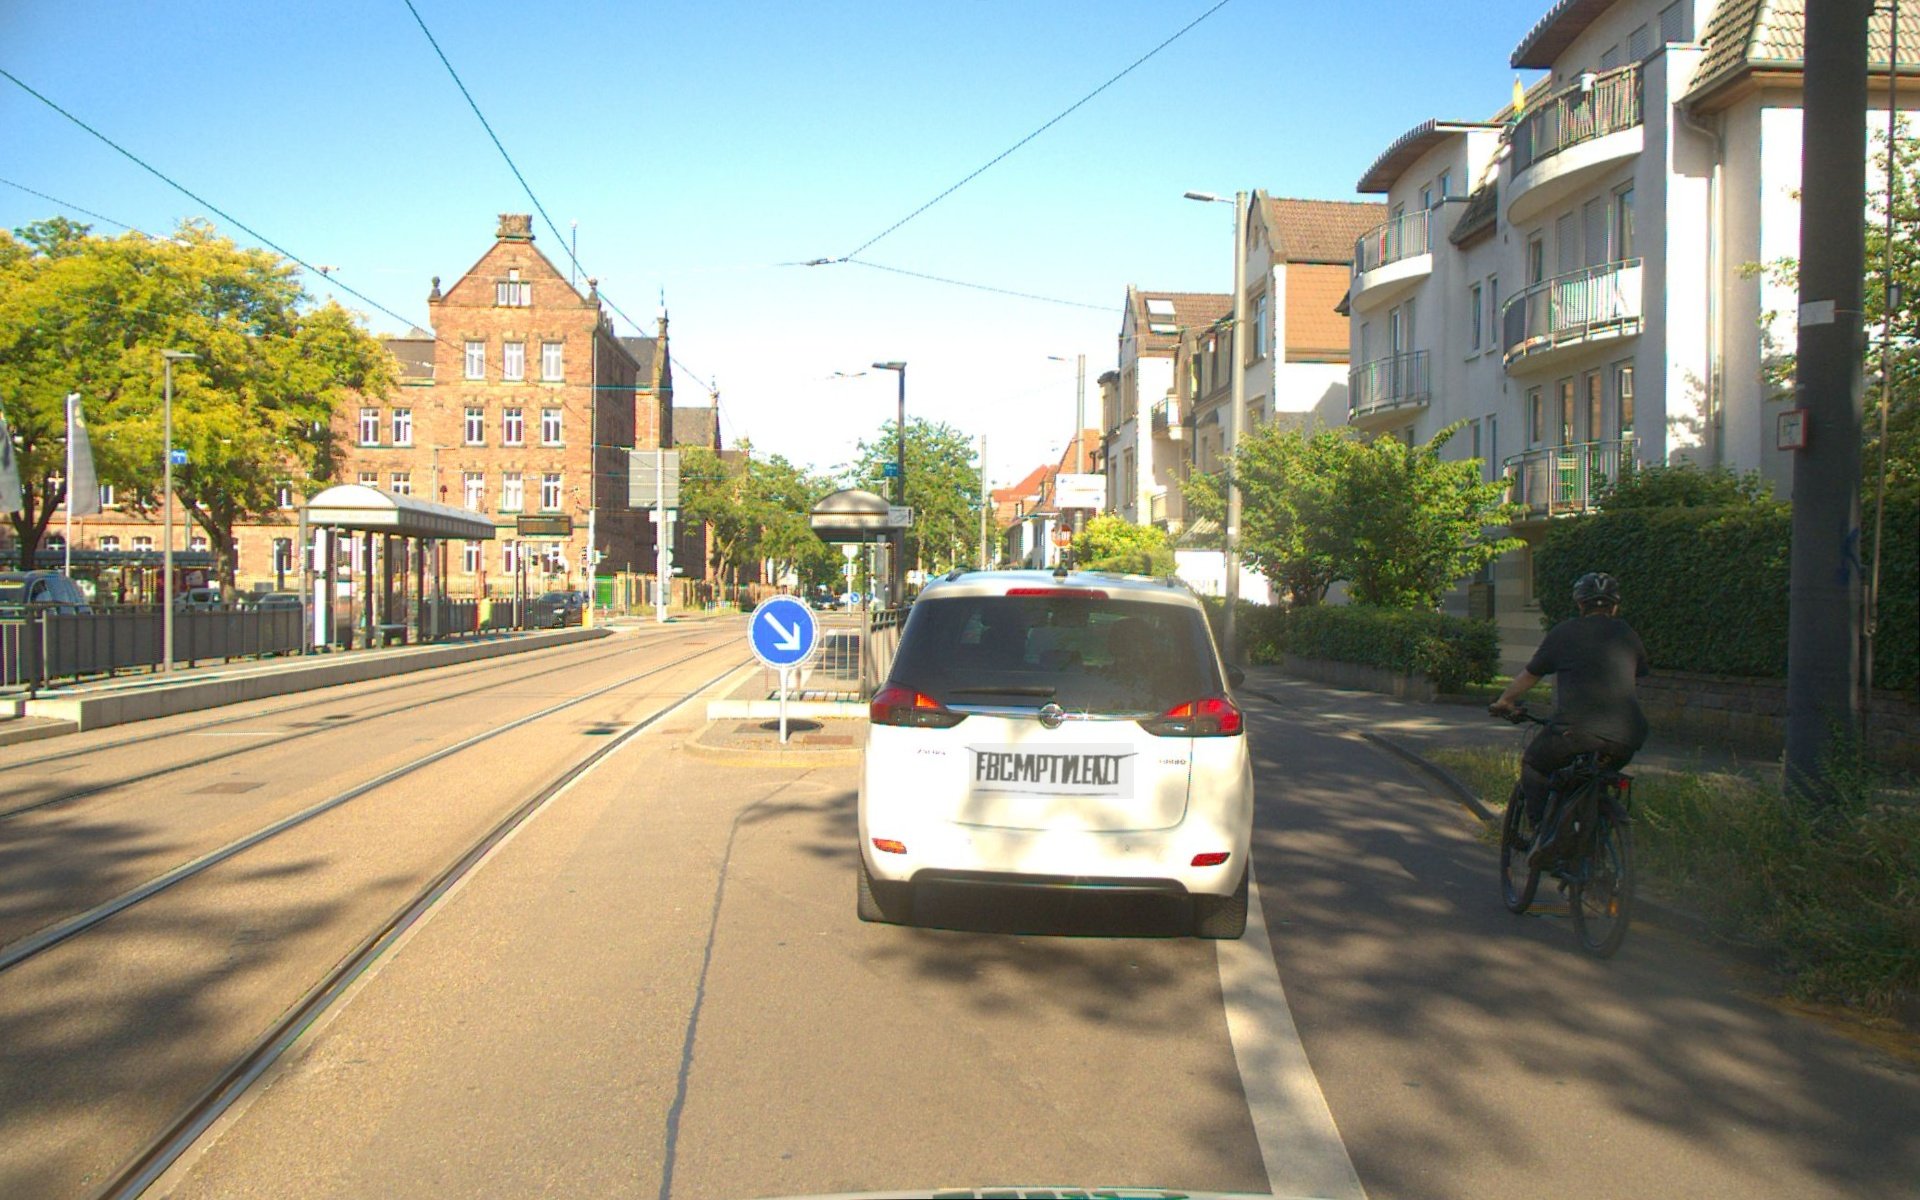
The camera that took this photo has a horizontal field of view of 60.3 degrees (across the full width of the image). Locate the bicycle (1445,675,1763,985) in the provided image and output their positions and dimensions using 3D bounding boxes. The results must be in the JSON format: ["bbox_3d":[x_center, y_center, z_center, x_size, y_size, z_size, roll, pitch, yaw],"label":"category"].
[{"bbox_3d":[3.012,1.009,7.998,0.812,1.174,2.095,3,0,4],"label":"bicycle"}]

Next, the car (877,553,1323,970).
[{"bbox_3d":[0.488,0.667,8.668,1.798,1.670,3.916,1,0,-3],"label":"car"}]

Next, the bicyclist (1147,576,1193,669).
[{"bbox_3d":[3.849,0.413,30.356,0.671,1.663,1.015,1,0,-1],"label":"bicyclist"}]

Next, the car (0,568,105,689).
[{"bbox_3d":[-14.432,0.388,24.650,1.762,1.666,4.110,-1,0,-9],"label":"car"}]

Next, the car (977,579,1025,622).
[{"bbox_3d":[1.657,0.029,67.340,1.740,1.660,3.879,1,0,-1],"label":"car"}]

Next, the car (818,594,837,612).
[{"bbox_3d":[-13.371,0.275,167.092,1.868,1.706,4.355,1,0,-3],"label":"car"}]

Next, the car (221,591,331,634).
[{"bbox_3d":[-28.185,0.527,68.203,3.780,1.689,1.750,1,0,-1],"label":"car"}]

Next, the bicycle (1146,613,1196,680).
[{"bbox_3d":[3.851,0.828,30.284,0.671,1.177,1.619,1,0,-1],"label":"bicycle"}]

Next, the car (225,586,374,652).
[{"bbox_3d":[-15.108,0.401,38.108,1.846,1.440,4.621,0,0,-4],"label":"car"}]

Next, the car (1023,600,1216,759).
[{"bbox_3d":[1.553,0.733,17.249,1.554,1.445,3.899,0,0,-1],"label":"car"}]

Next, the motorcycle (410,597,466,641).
[{"bbox_3d":[-15.819,0.560,50.192,1.108,1.265,2.569,1,0,-7],"label":"motorcycle"}]

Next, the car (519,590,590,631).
[{"bbox_3d":[-16.540,0.426,67.619,1.953,1.573,3.999,1,0,-1],"label":"car"}]

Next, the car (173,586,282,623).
[{"bbox_3d":[-32.462,0.195,73.351,3.982,1.548,1.877,1,0,-1],"label":"car"}]

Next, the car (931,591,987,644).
[{"bbox_3d":[-0.054,0.562,54.106,1.740,1.660,3.880,1,0,-1],"label":"car"}]

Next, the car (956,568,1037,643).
[{"bbox_3d":[0.813,0.128,39.089,1.740,1.660,3.879,1,0,-1],"label":"car"}]

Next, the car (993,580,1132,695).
[{"bbox_3d":[1.552,0.562,26.299,1.740,1.660,3.878,1,0,-3],"label":"car"}]

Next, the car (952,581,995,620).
[{"bbox_3d":[0.561,0.035,73.103,1.740,1.660,3.879,1,0,-1],"label":"car"}]

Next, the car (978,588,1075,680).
[{"bbox_3d":[1.254,0.632,32.435,1.739,1.660,3.880,1,0,0],"label":"car"}]

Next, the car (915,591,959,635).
[{"bbox_3d":[-0.954,0.534,67.688,1.740,1.722,3.879,1,0,-1],"label":"car"}]

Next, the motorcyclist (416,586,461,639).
[{"bbox_3d":[-15.825,0.379,50.221,1.103,1.552,1.053,1,0,-7],"label":"motorcyclist"}]

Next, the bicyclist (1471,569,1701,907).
[{"bbox_3d":[3.010,0.631,8.045,0.804,1.528,0.935,1,0,5],"label":"bicyclist"}]
